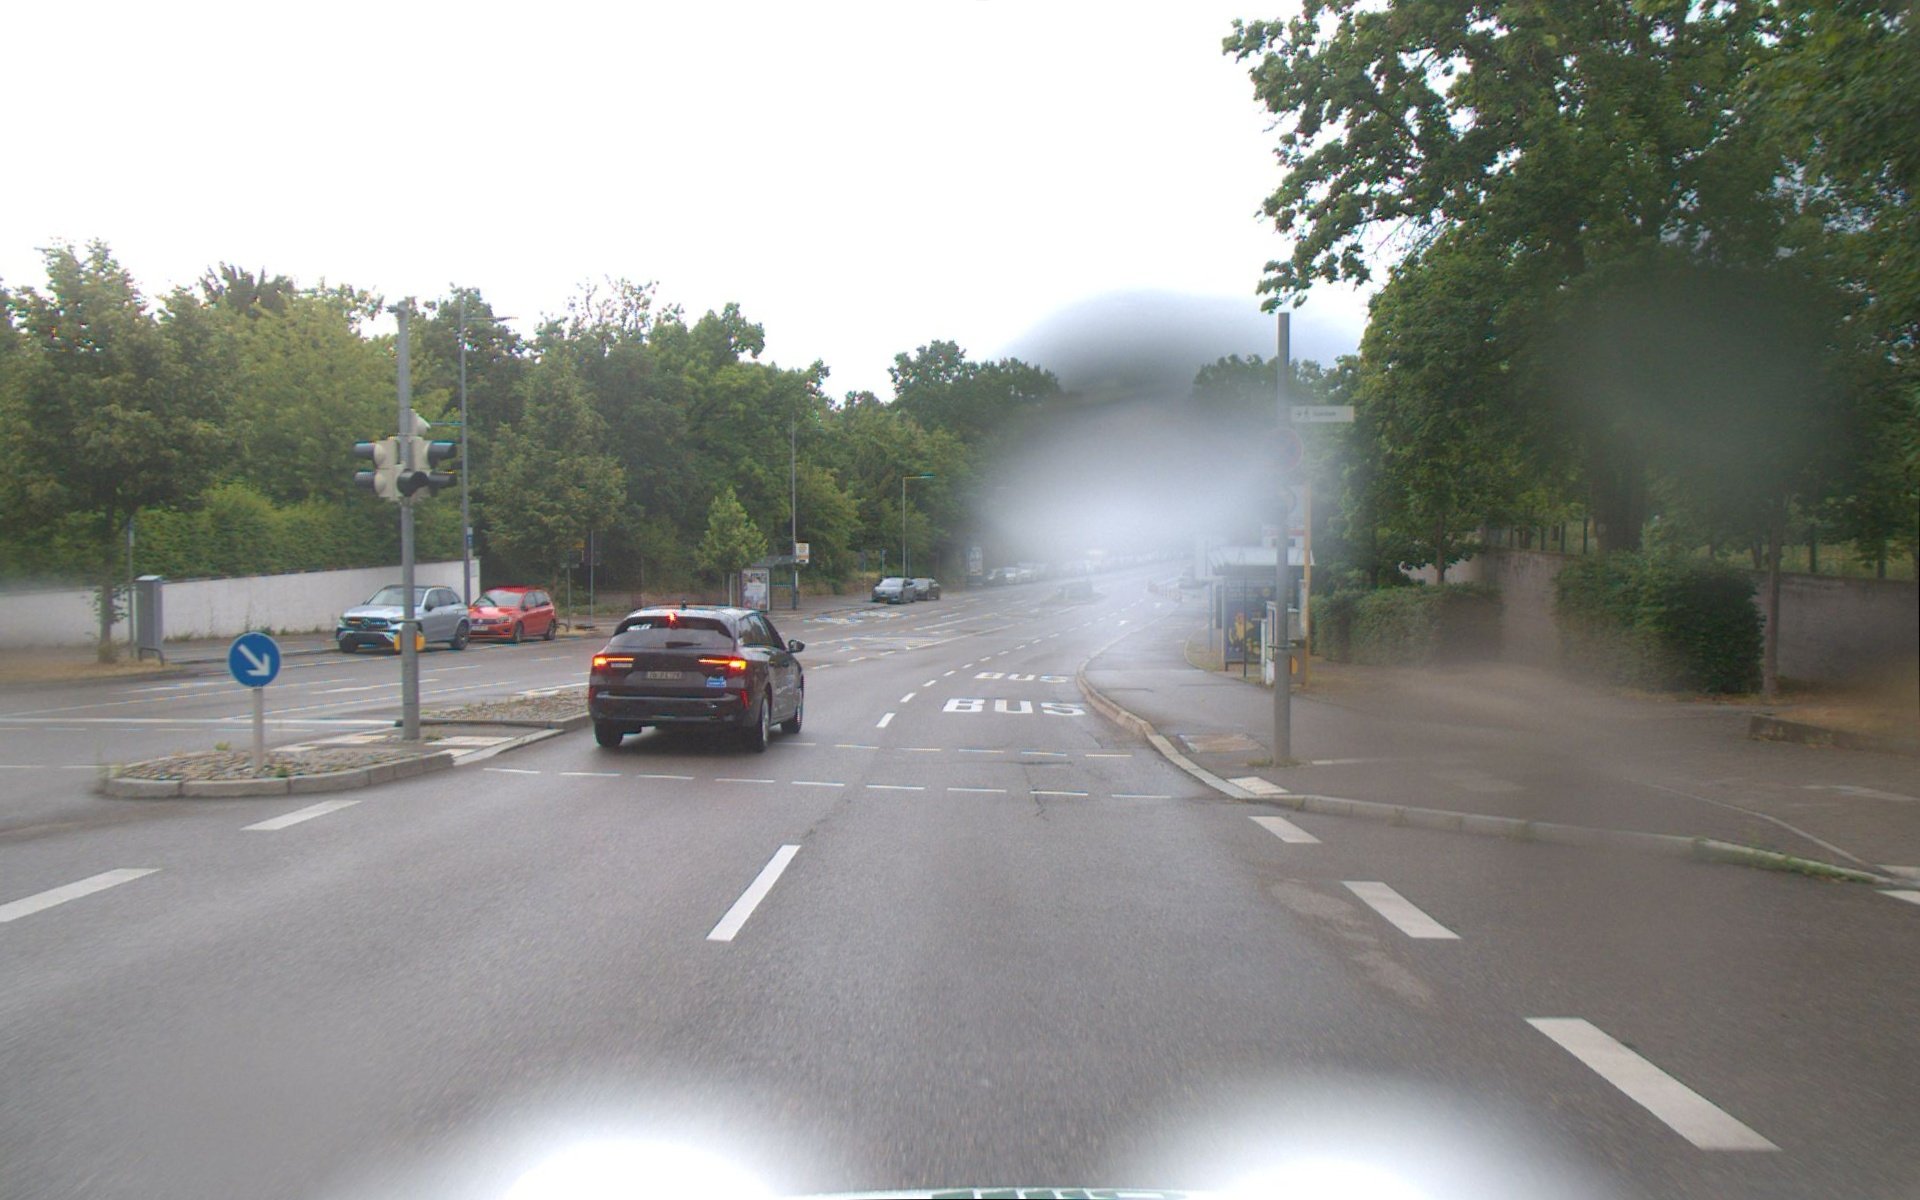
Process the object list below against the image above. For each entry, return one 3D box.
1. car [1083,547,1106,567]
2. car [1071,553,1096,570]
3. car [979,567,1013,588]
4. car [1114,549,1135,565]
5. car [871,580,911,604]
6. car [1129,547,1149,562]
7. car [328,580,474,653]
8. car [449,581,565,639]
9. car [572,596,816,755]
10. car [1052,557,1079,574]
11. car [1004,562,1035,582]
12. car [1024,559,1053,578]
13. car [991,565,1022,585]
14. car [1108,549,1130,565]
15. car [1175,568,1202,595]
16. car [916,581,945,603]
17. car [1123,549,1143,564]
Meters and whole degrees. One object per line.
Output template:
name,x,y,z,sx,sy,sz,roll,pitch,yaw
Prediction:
car,15.023,-4.840,184.609,1.915,1.970,4.005,3,4,14
car,13.361,-4.157,178.597,1.915,1.646,4.005,3,4,14
car,3.037,-1.887,138.178,1.915,1.511,4.005,3,4,14
car,19.690,-5.190,197.747,1.915,1.681,4.005,3,4,14
car,-4.301,-0.500,103.552,1.676,1.486,3.753,1,0,10
car,22.671,-5.737,209.149,1.915,1.681,4.005,3,4,14
car,-14.121,0.375,42.017,1.814,1.668,4.097,3,1,8
car,-13.436,0.278,49.334,1.835,1.602,4.226,2,0,6
car,-2.755,0.721,18.150,1.762,1.455,4.521,2,0,2
car,10.738,-3.528,168.333,1.915,1.511,4.005,3,4,14
car,5.364,-2.492,147.943,1.915,1.511,4.005,3,4,14
car,7.421,-3.005,156.271,1.915,1.511,4.005,3,4,14
car,4.023,-2.195,143.055,1.820,1.511,4.005,3,4,14
car,18.512,-4.982,192.758,1.915,1.681,4.005,3,4,14
car,19.789,-1.607,143.287,1.951,2.113,4.005,2,4,11
car,-1.932,-0.518,109.281,1.386,1.449,3.124,1,0,9
car,21.321,-5.401,203.769,1.915,1.681,4.005,3,4,14
